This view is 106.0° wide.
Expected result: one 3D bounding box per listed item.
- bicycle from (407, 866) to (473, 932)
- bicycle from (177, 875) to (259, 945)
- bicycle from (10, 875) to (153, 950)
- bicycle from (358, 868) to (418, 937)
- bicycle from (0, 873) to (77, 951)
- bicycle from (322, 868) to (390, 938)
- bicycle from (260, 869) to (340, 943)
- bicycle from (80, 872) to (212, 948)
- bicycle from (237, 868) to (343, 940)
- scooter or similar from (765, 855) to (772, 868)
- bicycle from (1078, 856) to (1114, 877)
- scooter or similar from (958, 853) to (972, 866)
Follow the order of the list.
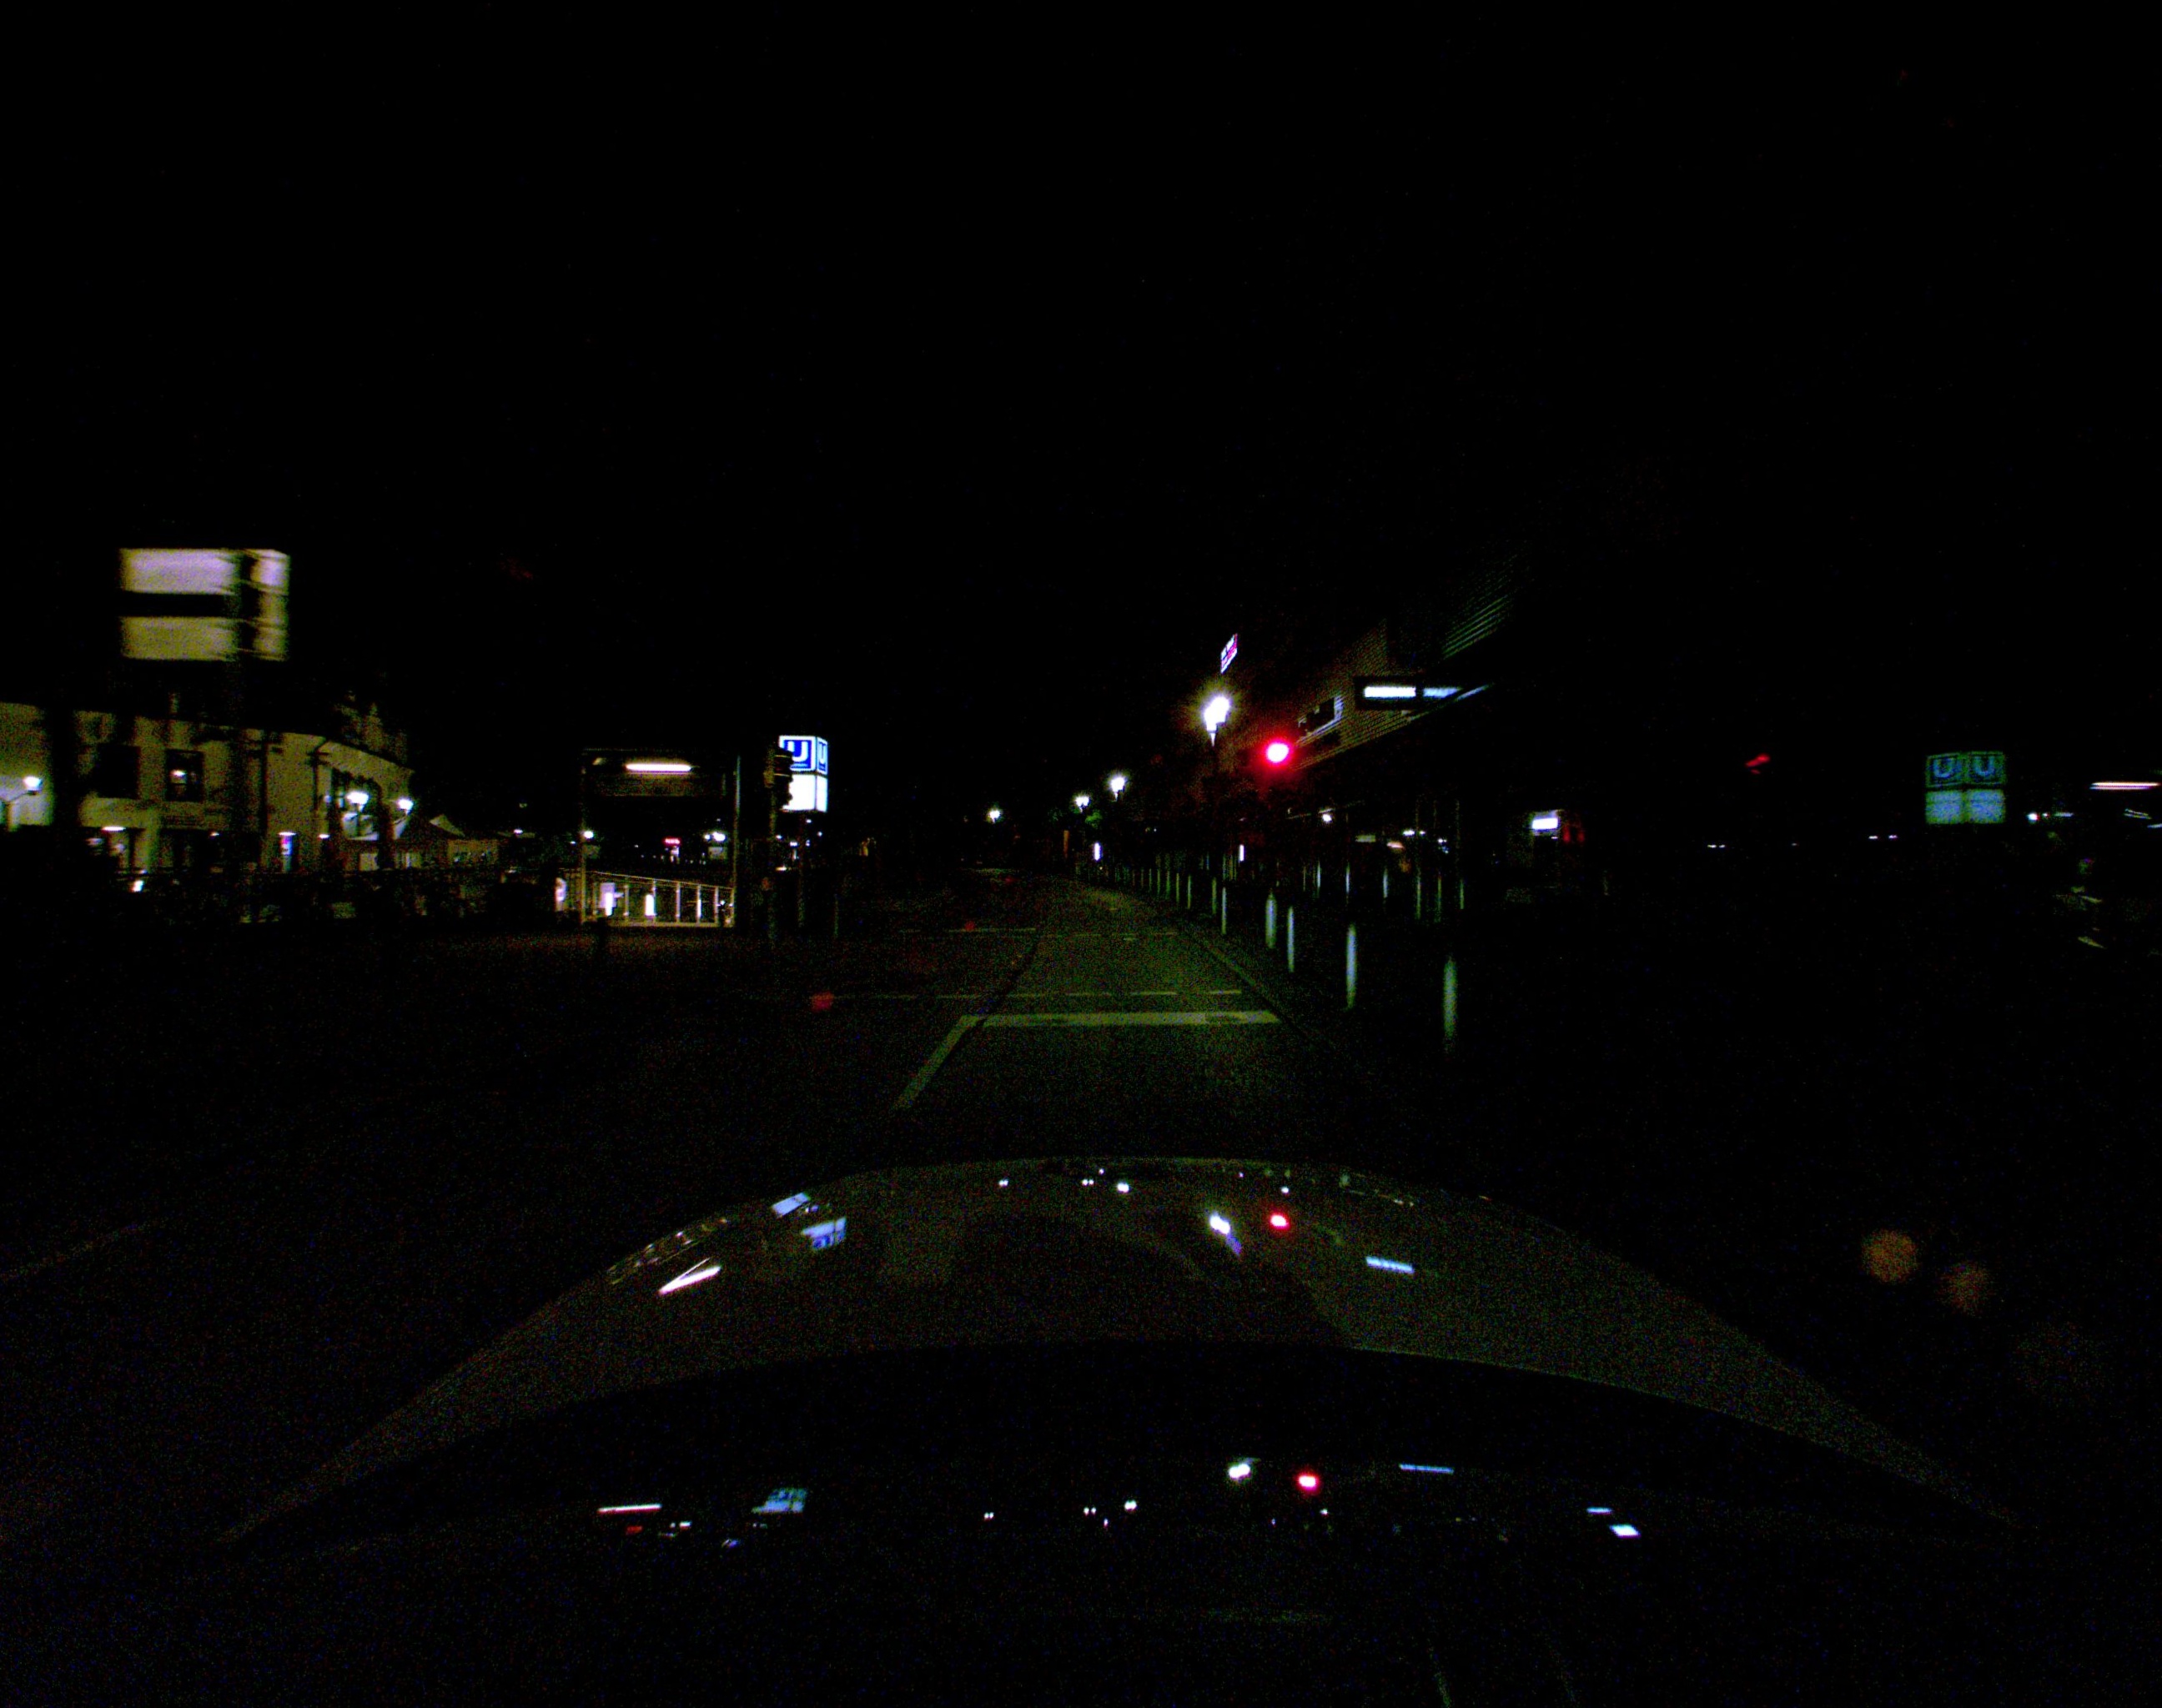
[{"bbox_3d":[-12.622,0.843,16.084,0.764,1.162,1.730,-1,1,-31],"label":"bicycle"},{"bbox_3d":[-15.122,0.944,14.312,0.611,1.069,1.728,-2,1,-34],"label":"bicycle"},{"bbox_3d":[-16.748,0.944,13.714,0.608,1.100,1.738,-1,1,-16],"label":"bicycle"},{"bbox_3d":[-12.961,0.869,15.268,0.547,1.154,1.730,-1,1,-31],"label":"bicycle"},{"bbox_3d":[-17.300,0.927,13.055,0.608,1.165,1.738,-1,1,-16],"label":"bicycle"},{"bbox_3d":[-13.485,0.873,15.190,0.611,1.165,1.730,-1,1,-31],"label":"bicycle"},{"bbox_3d":[-13.695,0.877,14.333,0.611,1.165,1.730,-1,1,-31],"label":"bicycle"},{"bbox_3d":[-15.872,0.918,13.891,0.608,1.125,1.738,-1,1,-16],"label":"bicycle"},{"bbox_3d":[-14.551,0.882,15.046,0.608,1.165,1.738,-1,1,-16],"label":"bicycle"},{"bbox_3d":[-32.726,0.805,85.296,0.433,1.284,1.135,-1,1,-33],"label":"scooter or similar"},{"bbox_3d":[0.768,0.655,41.959,1.757,1.062,0.650,0,1,-24],"label":"bicycle"},{"bbox_3d":[-12.060,0.566,84.752,1.253,1.227,0.593,1,0,-27],"label":"scooter or similar"}]
